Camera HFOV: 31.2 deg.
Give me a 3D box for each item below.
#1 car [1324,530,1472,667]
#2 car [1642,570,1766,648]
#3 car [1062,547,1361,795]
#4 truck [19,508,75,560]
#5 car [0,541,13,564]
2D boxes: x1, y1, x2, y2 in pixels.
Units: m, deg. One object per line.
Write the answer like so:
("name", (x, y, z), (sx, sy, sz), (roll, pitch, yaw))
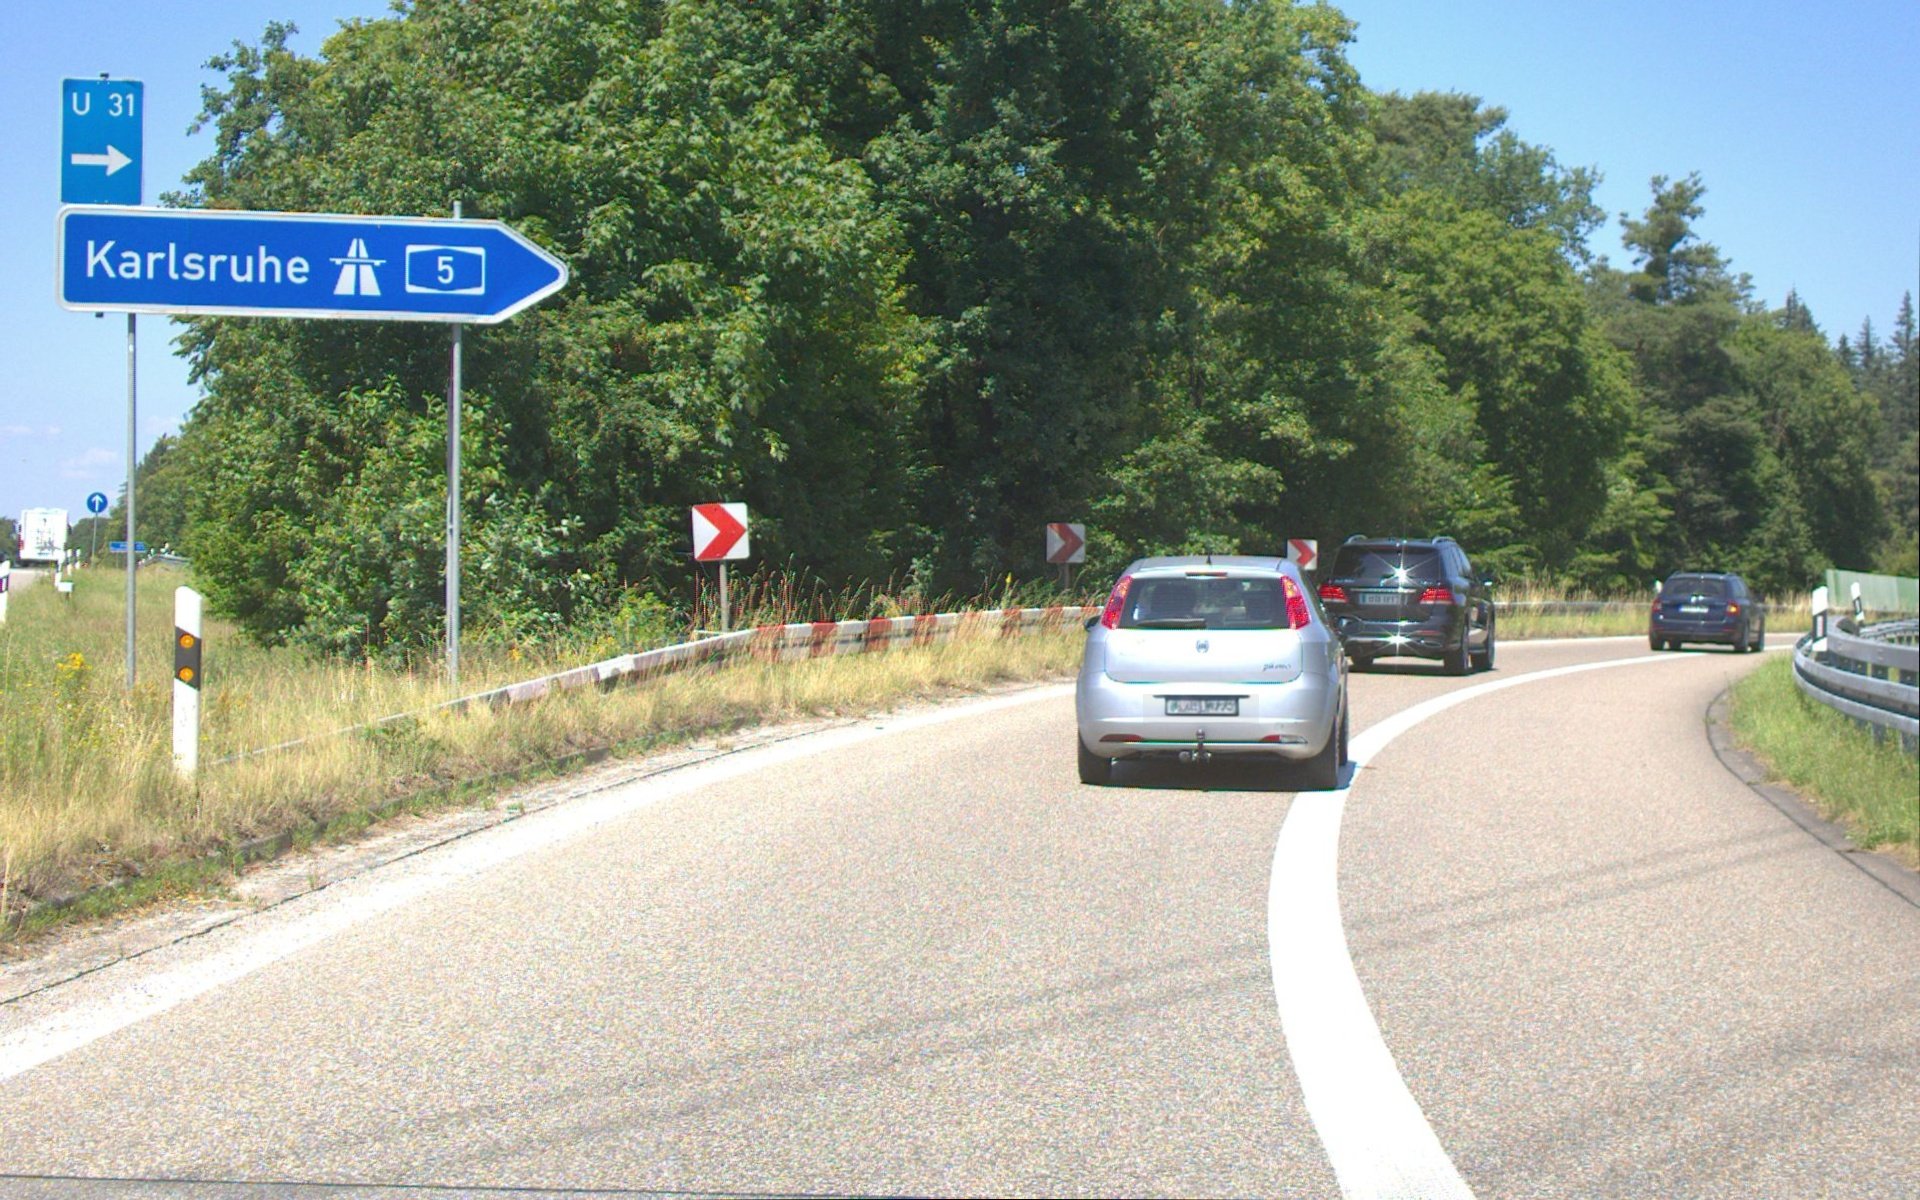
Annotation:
("car", (5.743, -0.042, 44.809), (1.641, 1.648, 3.572), (2, 1, 11))
("car", (13.743, 0.152, 63.392), (1.642, 1.338, 3.570), (2, 1, 21))
("car", (1.745, 0.419, 22.919), (1.641, 1.463, 3.418), (2, 1, 9))
("truck", (-47.361, -3.433, 178.445), (2.617, 2.633, 7.669), (0, 1, -14))
("car", (-65.793, -3.267, 235.359), (1.712, 1.466, 3.575), (2, 1, -13))
